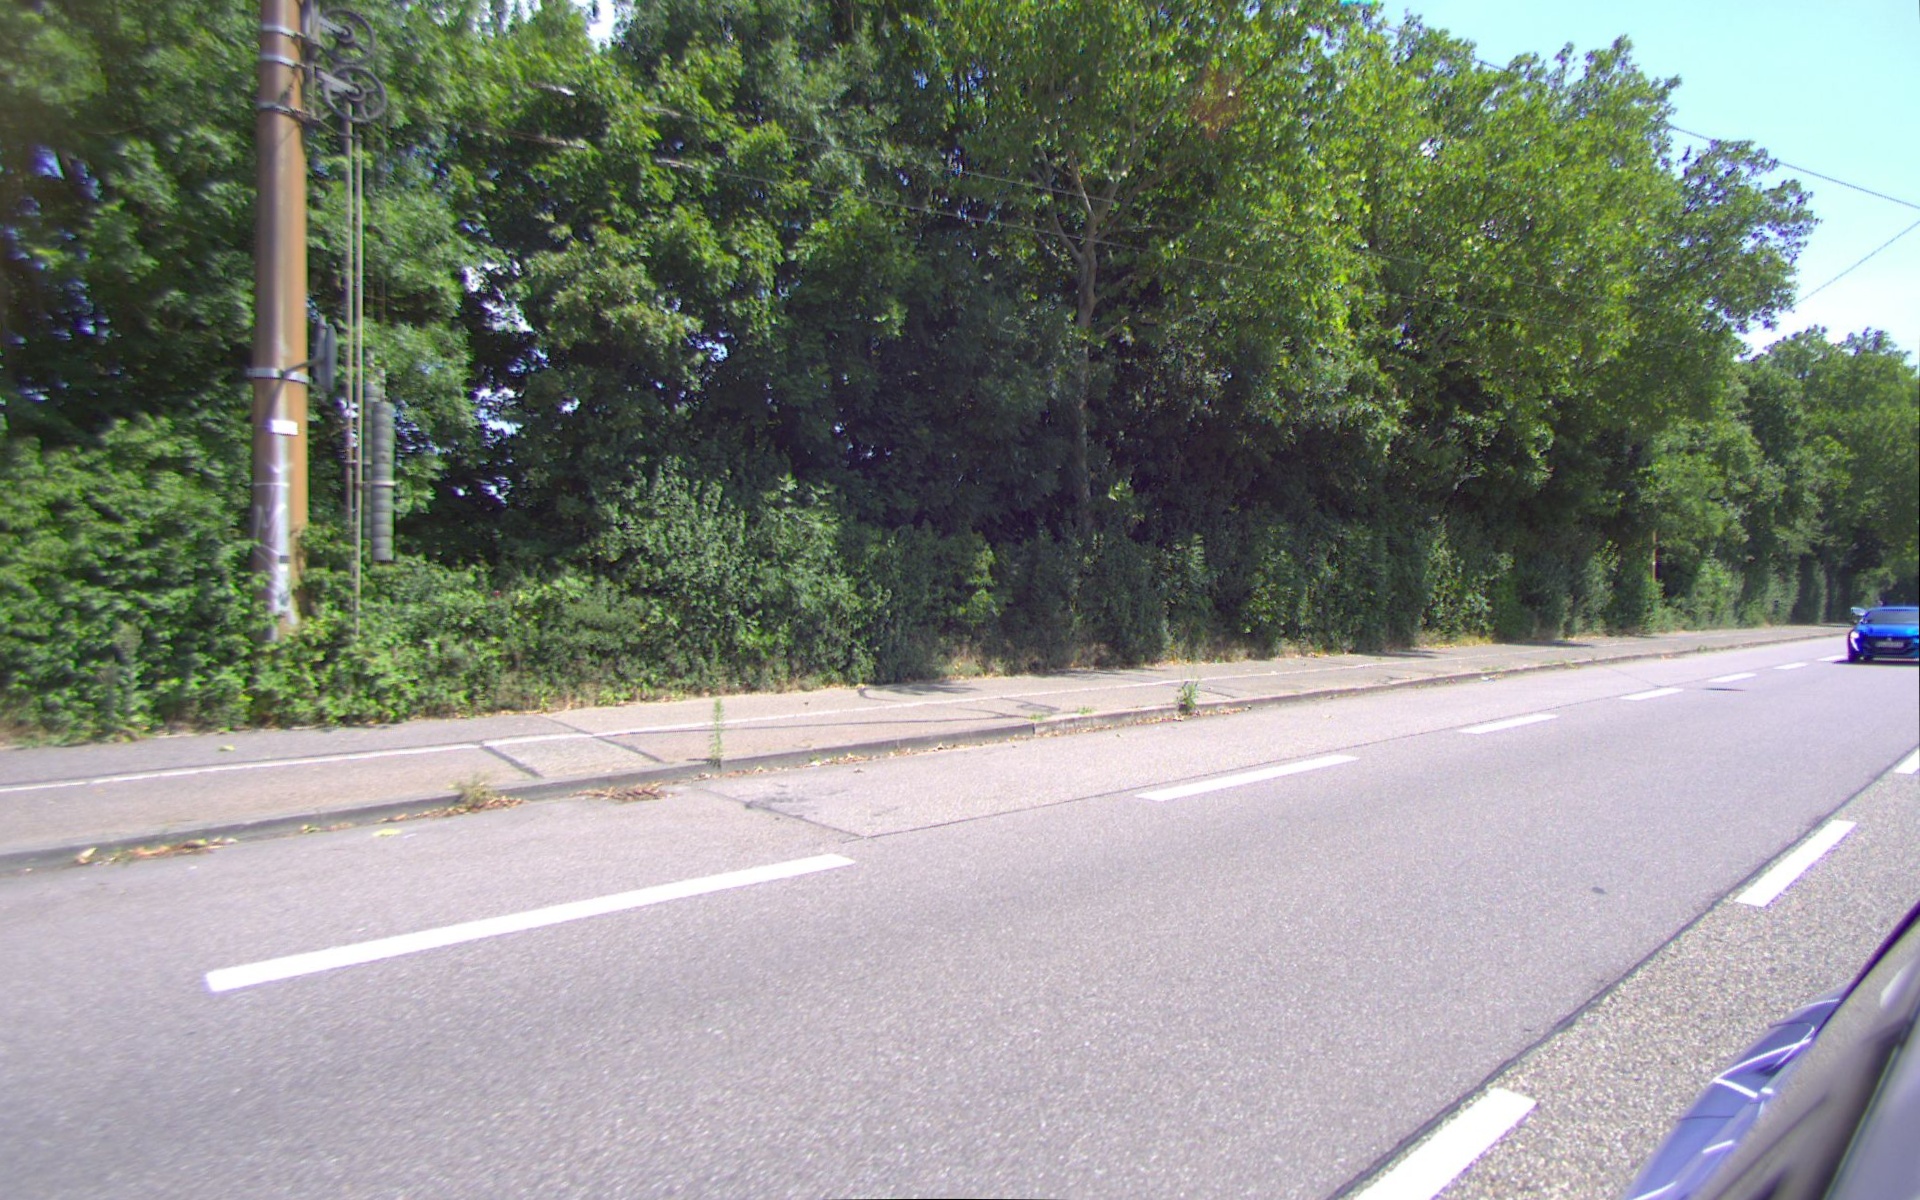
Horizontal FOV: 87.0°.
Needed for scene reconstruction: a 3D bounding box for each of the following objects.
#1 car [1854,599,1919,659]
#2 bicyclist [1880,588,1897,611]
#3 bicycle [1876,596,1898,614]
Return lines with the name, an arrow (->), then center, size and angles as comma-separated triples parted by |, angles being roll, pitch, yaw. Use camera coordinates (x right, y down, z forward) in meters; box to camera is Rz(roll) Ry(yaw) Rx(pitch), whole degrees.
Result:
car -> 24.348, 0.700, 25.998 | 3.680, 1.423, 1.658 | -1, 0, -42
bicyclist -> 60.774, -0.024, 66.234 | 0.629, 1.457, 0.704 | 1, 1, -40
bicycle -> 60.609, 0.317, 66.145 | 2.493, 1.152, 0.710 | 0, 1, -40
